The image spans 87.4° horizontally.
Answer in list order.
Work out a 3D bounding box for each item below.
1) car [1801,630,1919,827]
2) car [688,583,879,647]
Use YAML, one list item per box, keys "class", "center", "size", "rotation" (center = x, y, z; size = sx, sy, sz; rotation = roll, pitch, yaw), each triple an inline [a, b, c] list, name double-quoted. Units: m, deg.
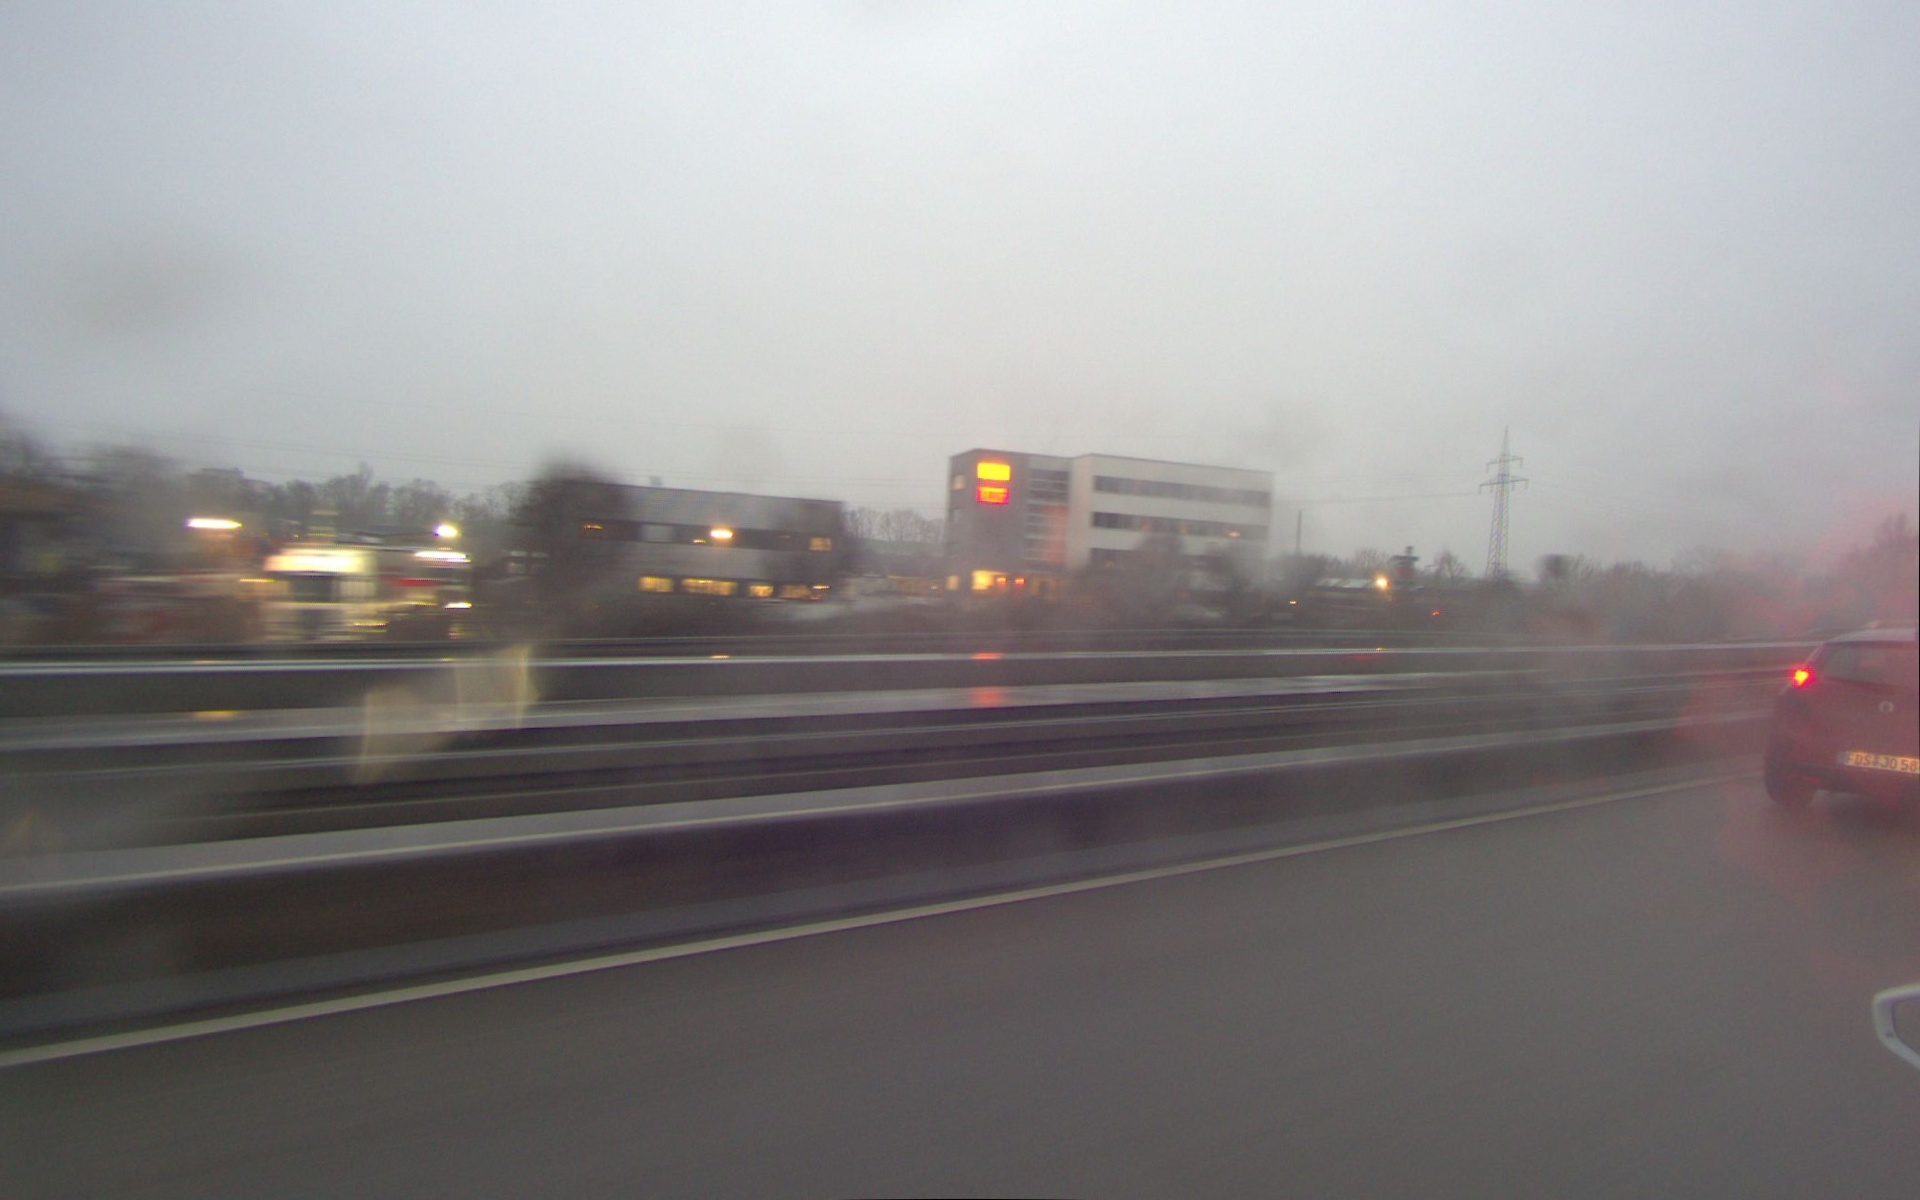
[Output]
- class: "car"
  center: [8.693, 0.987, 8.325]
  size: [3.959, 1.410, 1.615]
  rotation: [1, 0, -34]
- class: "car"
  center: [-6.014, 0.514, 34.946]
  size: [6.439, 2.040, 1.977]
  rotation: [1, -1, -40]
